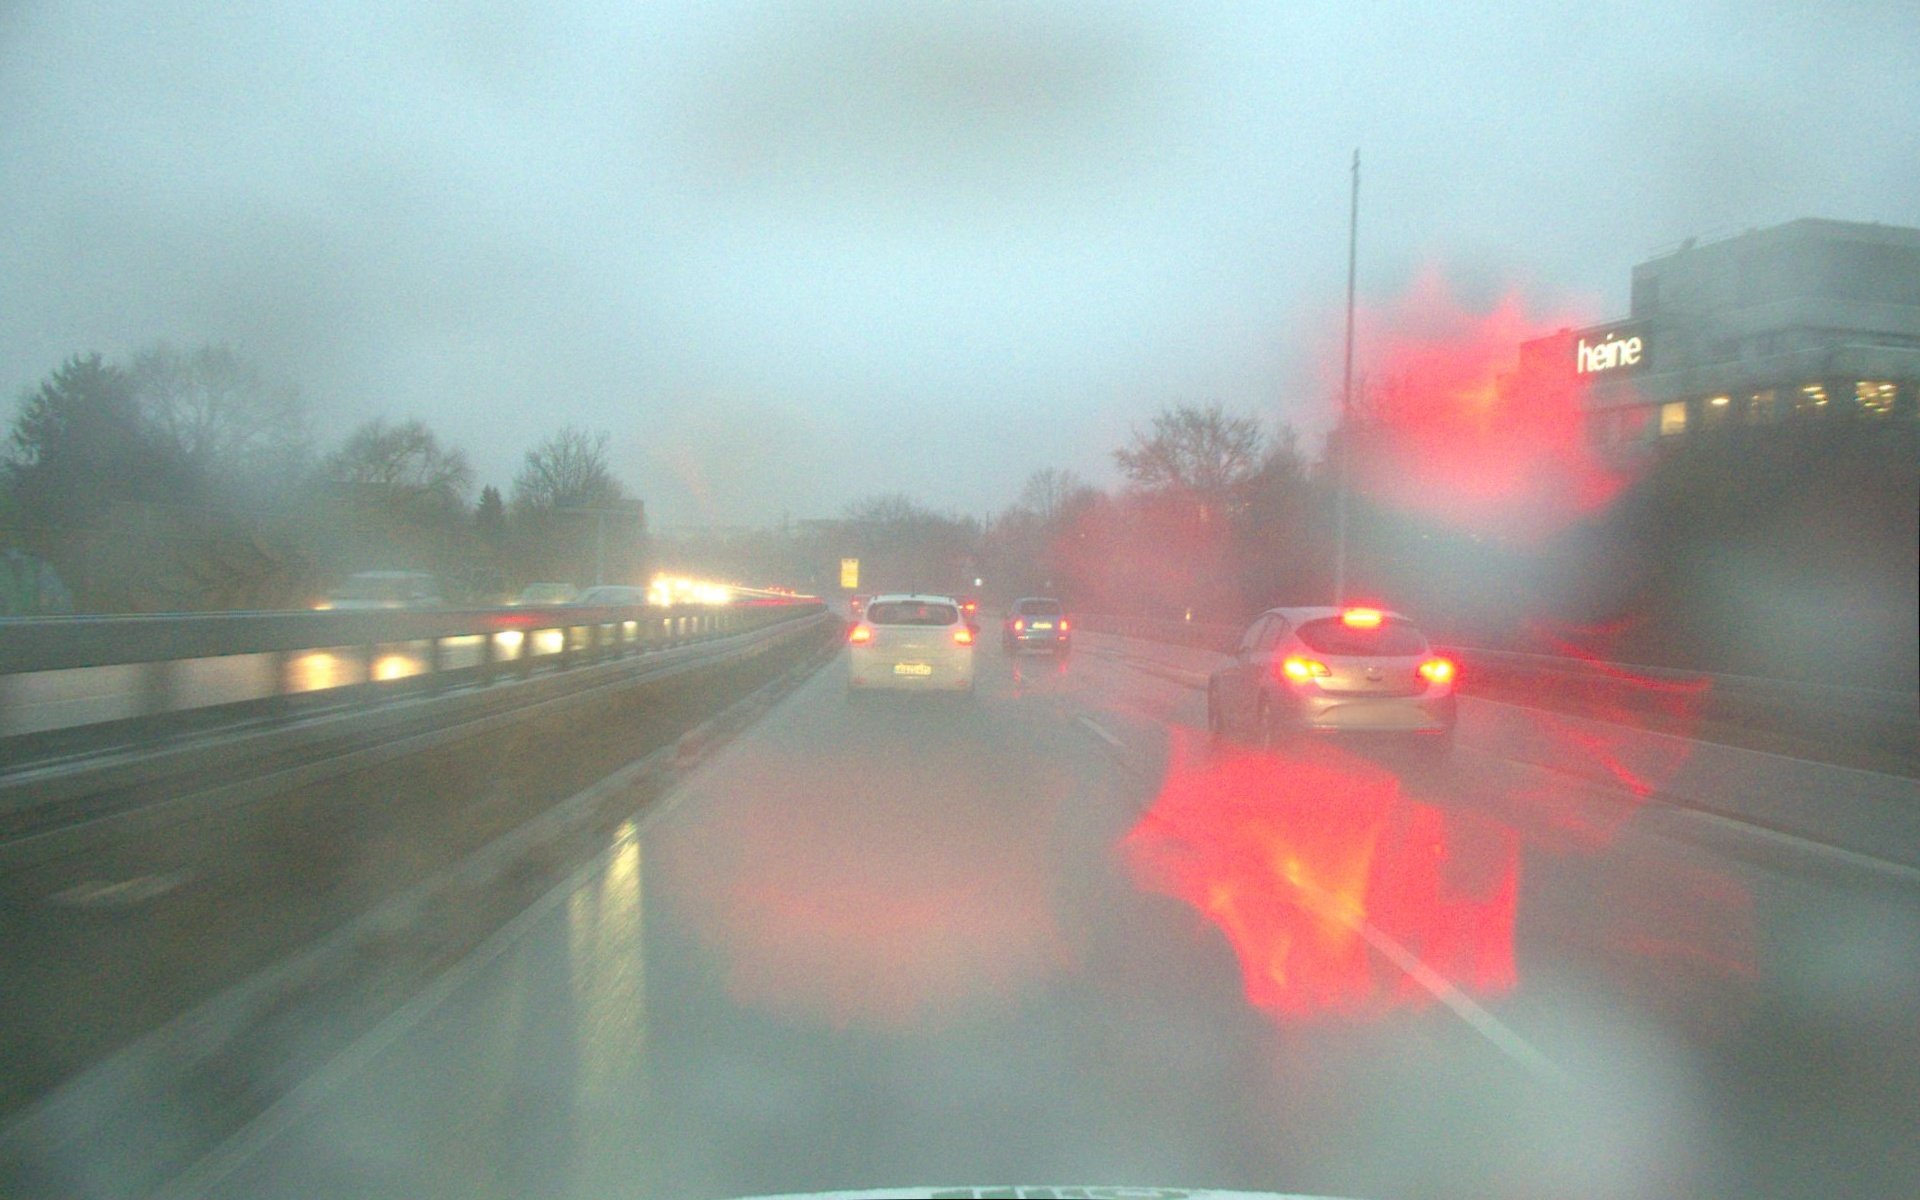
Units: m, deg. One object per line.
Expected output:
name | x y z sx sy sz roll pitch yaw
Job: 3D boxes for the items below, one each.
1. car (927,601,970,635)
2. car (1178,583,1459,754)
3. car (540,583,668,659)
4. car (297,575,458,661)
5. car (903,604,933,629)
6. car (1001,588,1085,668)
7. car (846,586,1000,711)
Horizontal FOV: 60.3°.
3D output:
car | -0.631 0.917 85.464 1.895 1.573 3.770 -5 0 -4
car | 3.555 0.627 17.218 1.812 1.528 4.260 1 0 -3
car | -7.502 0.426 35.261 1.828 1.475 4.644 1 0 -2
car | -12.242 0.365 35.110 1.828 1.656 4.777 1 0 -2
car | -2.774 1.055 108.805 1.894 1.573 3.771 1 0 -3
car | 2.199 0.727 44.689 1.894 2.055 3.772 1 0 -2
car | -0.618 0.640 23.639 1.985 1.602 3.996 1 0 -4
